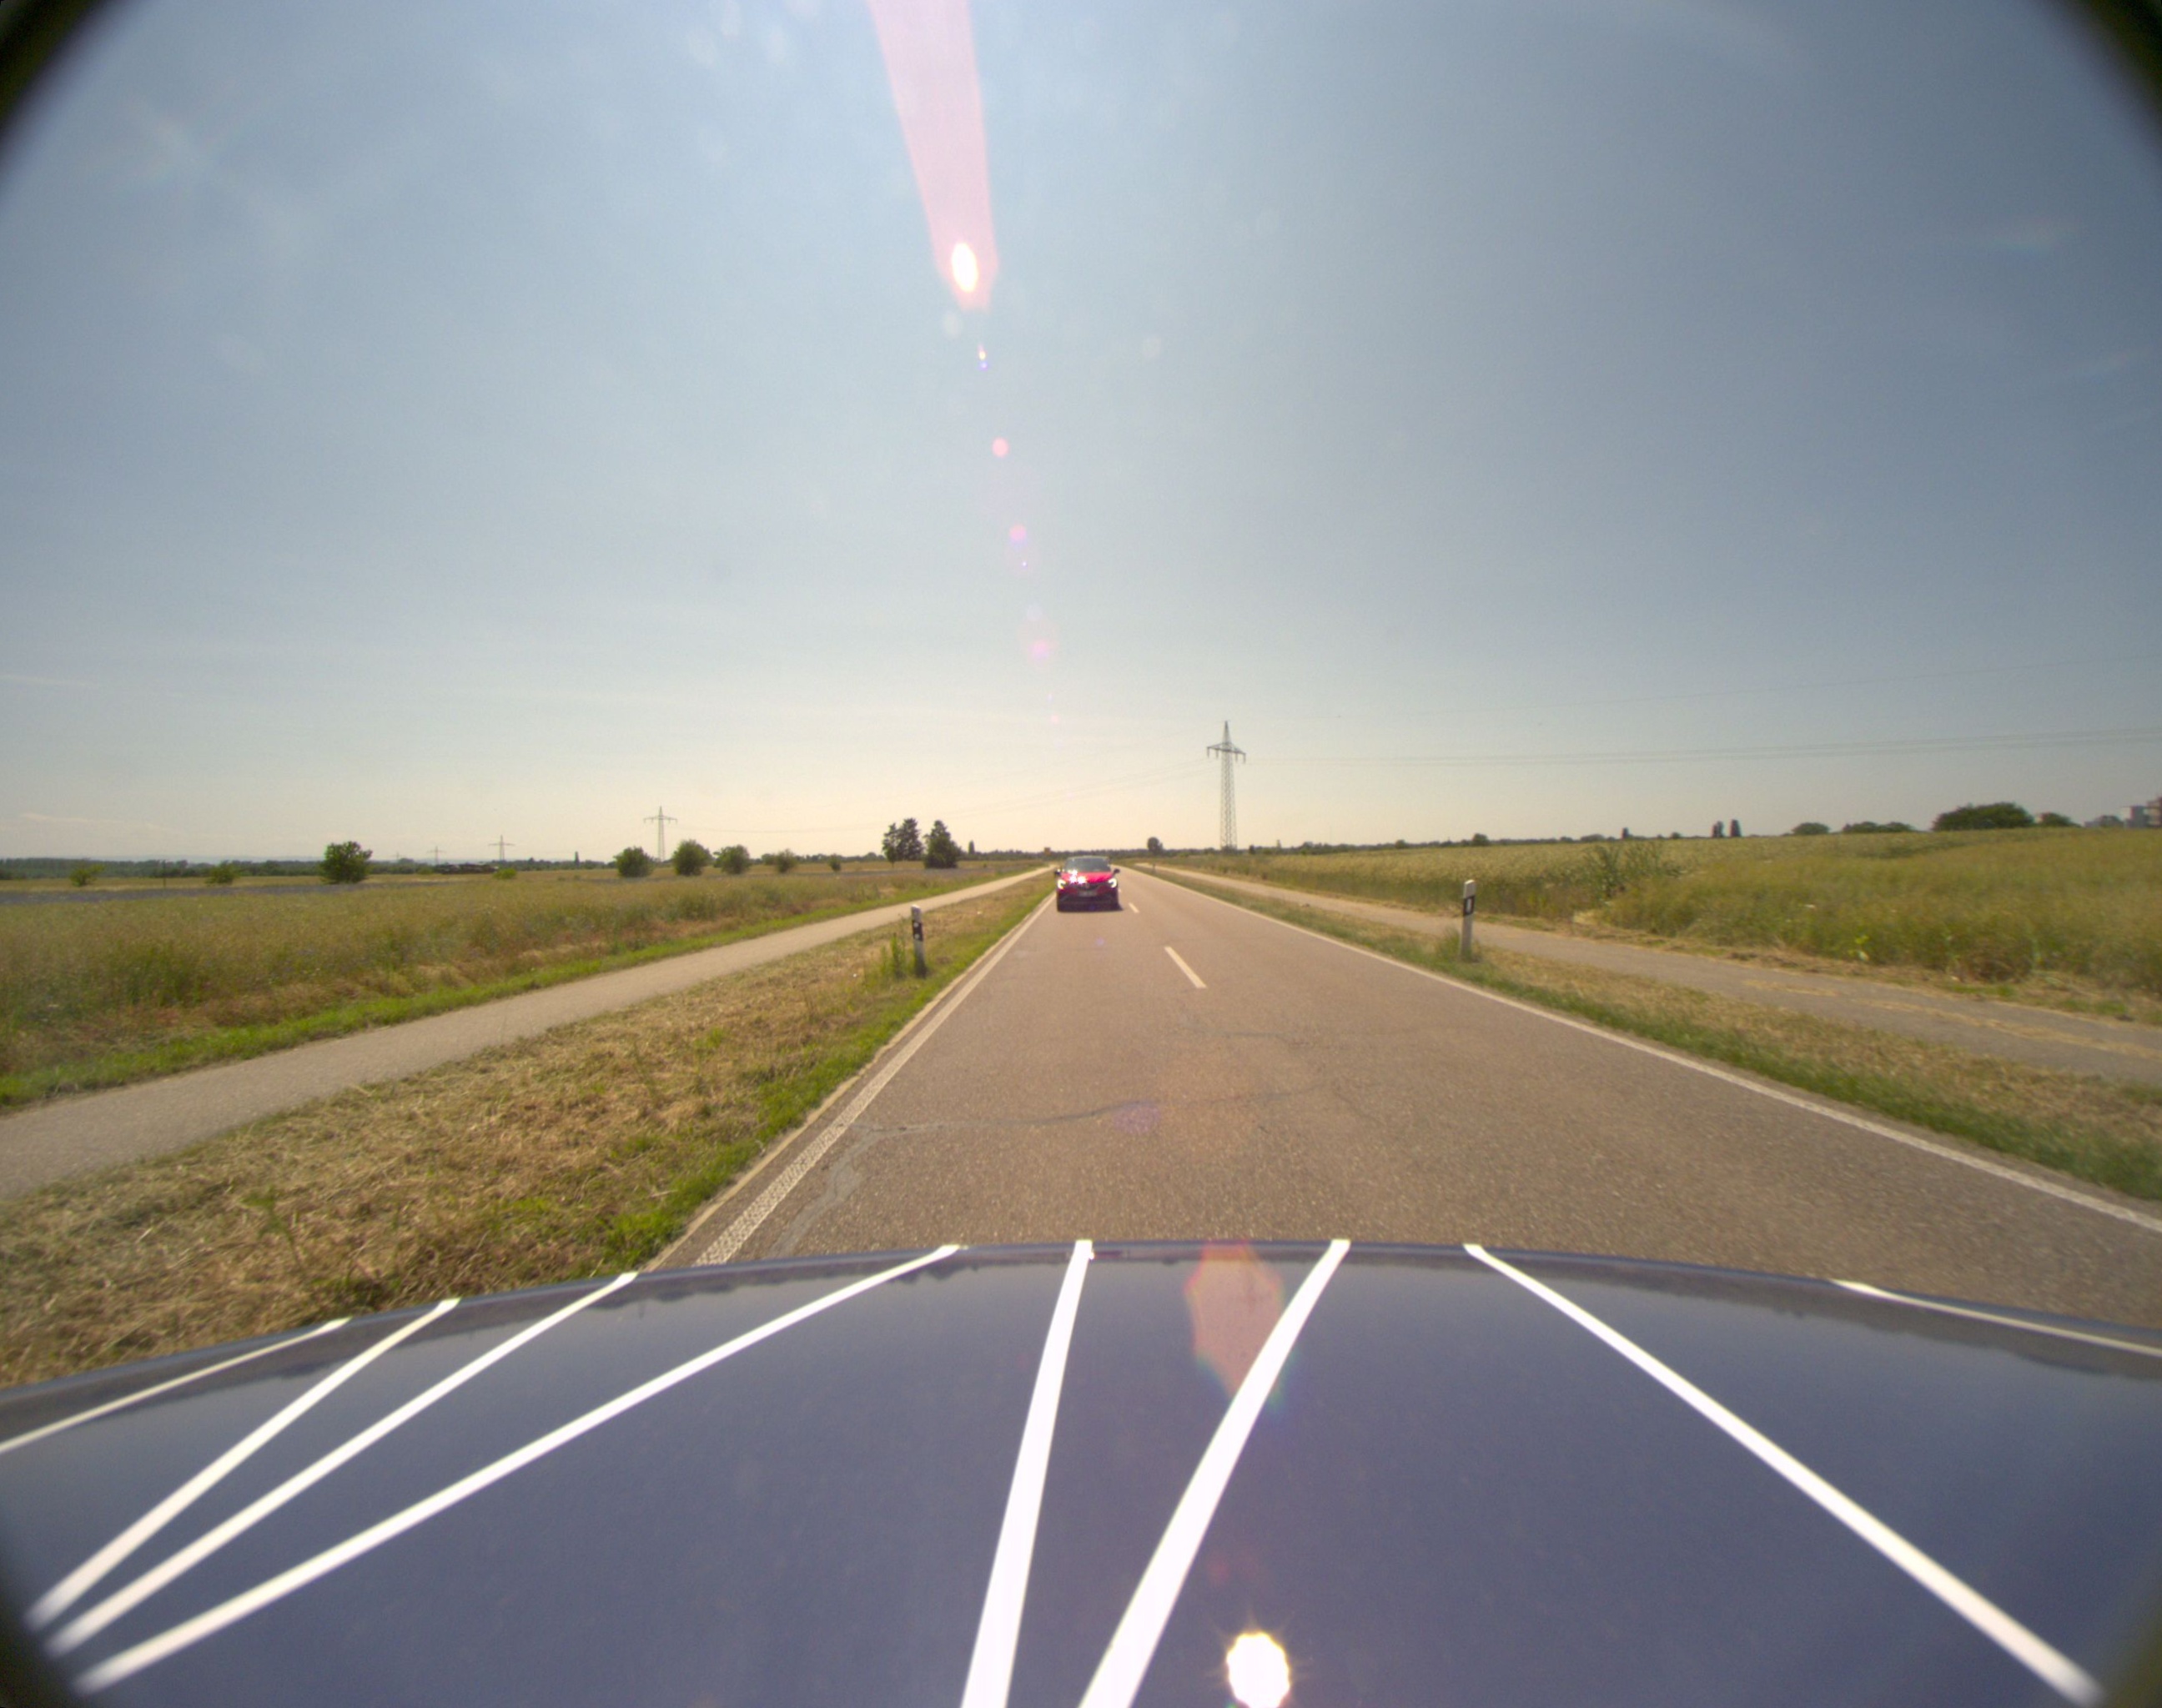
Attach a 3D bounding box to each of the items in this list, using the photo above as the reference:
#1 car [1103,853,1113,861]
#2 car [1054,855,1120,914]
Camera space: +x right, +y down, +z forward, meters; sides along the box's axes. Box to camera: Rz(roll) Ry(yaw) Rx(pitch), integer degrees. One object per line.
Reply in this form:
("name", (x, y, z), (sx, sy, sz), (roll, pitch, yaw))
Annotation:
("car", (4.717, 0.510, 133.694), (1.752, 1.392, 4.032), (-2, 1, 1))
("car", (0.202, 0.862, 23.614), (1.826, 1.543, 4.449), (-2, 0, 1))
